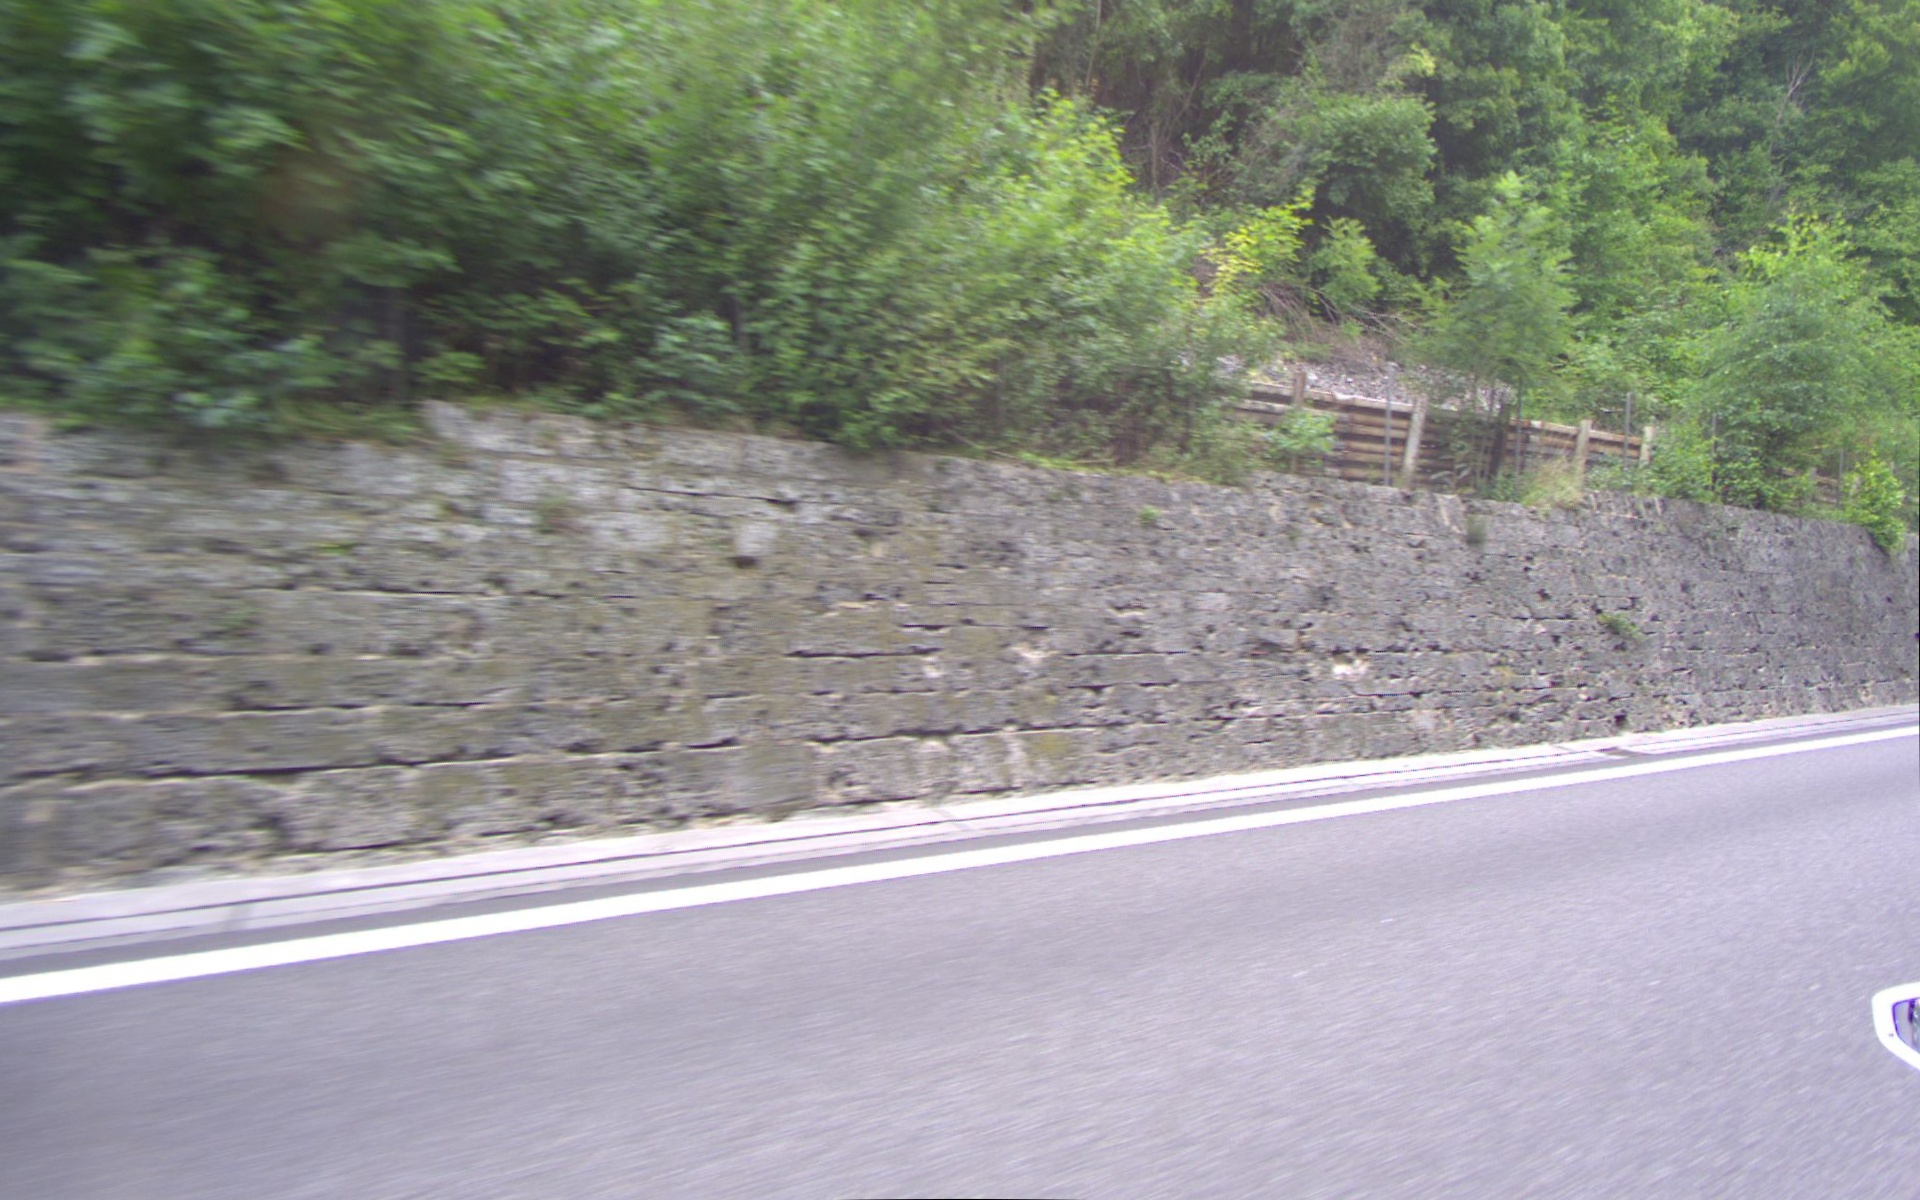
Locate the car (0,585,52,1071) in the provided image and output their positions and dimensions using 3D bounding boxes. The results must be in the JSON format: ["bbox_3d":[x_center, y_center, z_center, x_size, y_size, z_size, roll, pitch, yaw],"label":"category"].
[{"bbox_3d":[-4.622,0.656,1.522,4.504,1.488,1.826,1,0,-32],"label":"car"}]
